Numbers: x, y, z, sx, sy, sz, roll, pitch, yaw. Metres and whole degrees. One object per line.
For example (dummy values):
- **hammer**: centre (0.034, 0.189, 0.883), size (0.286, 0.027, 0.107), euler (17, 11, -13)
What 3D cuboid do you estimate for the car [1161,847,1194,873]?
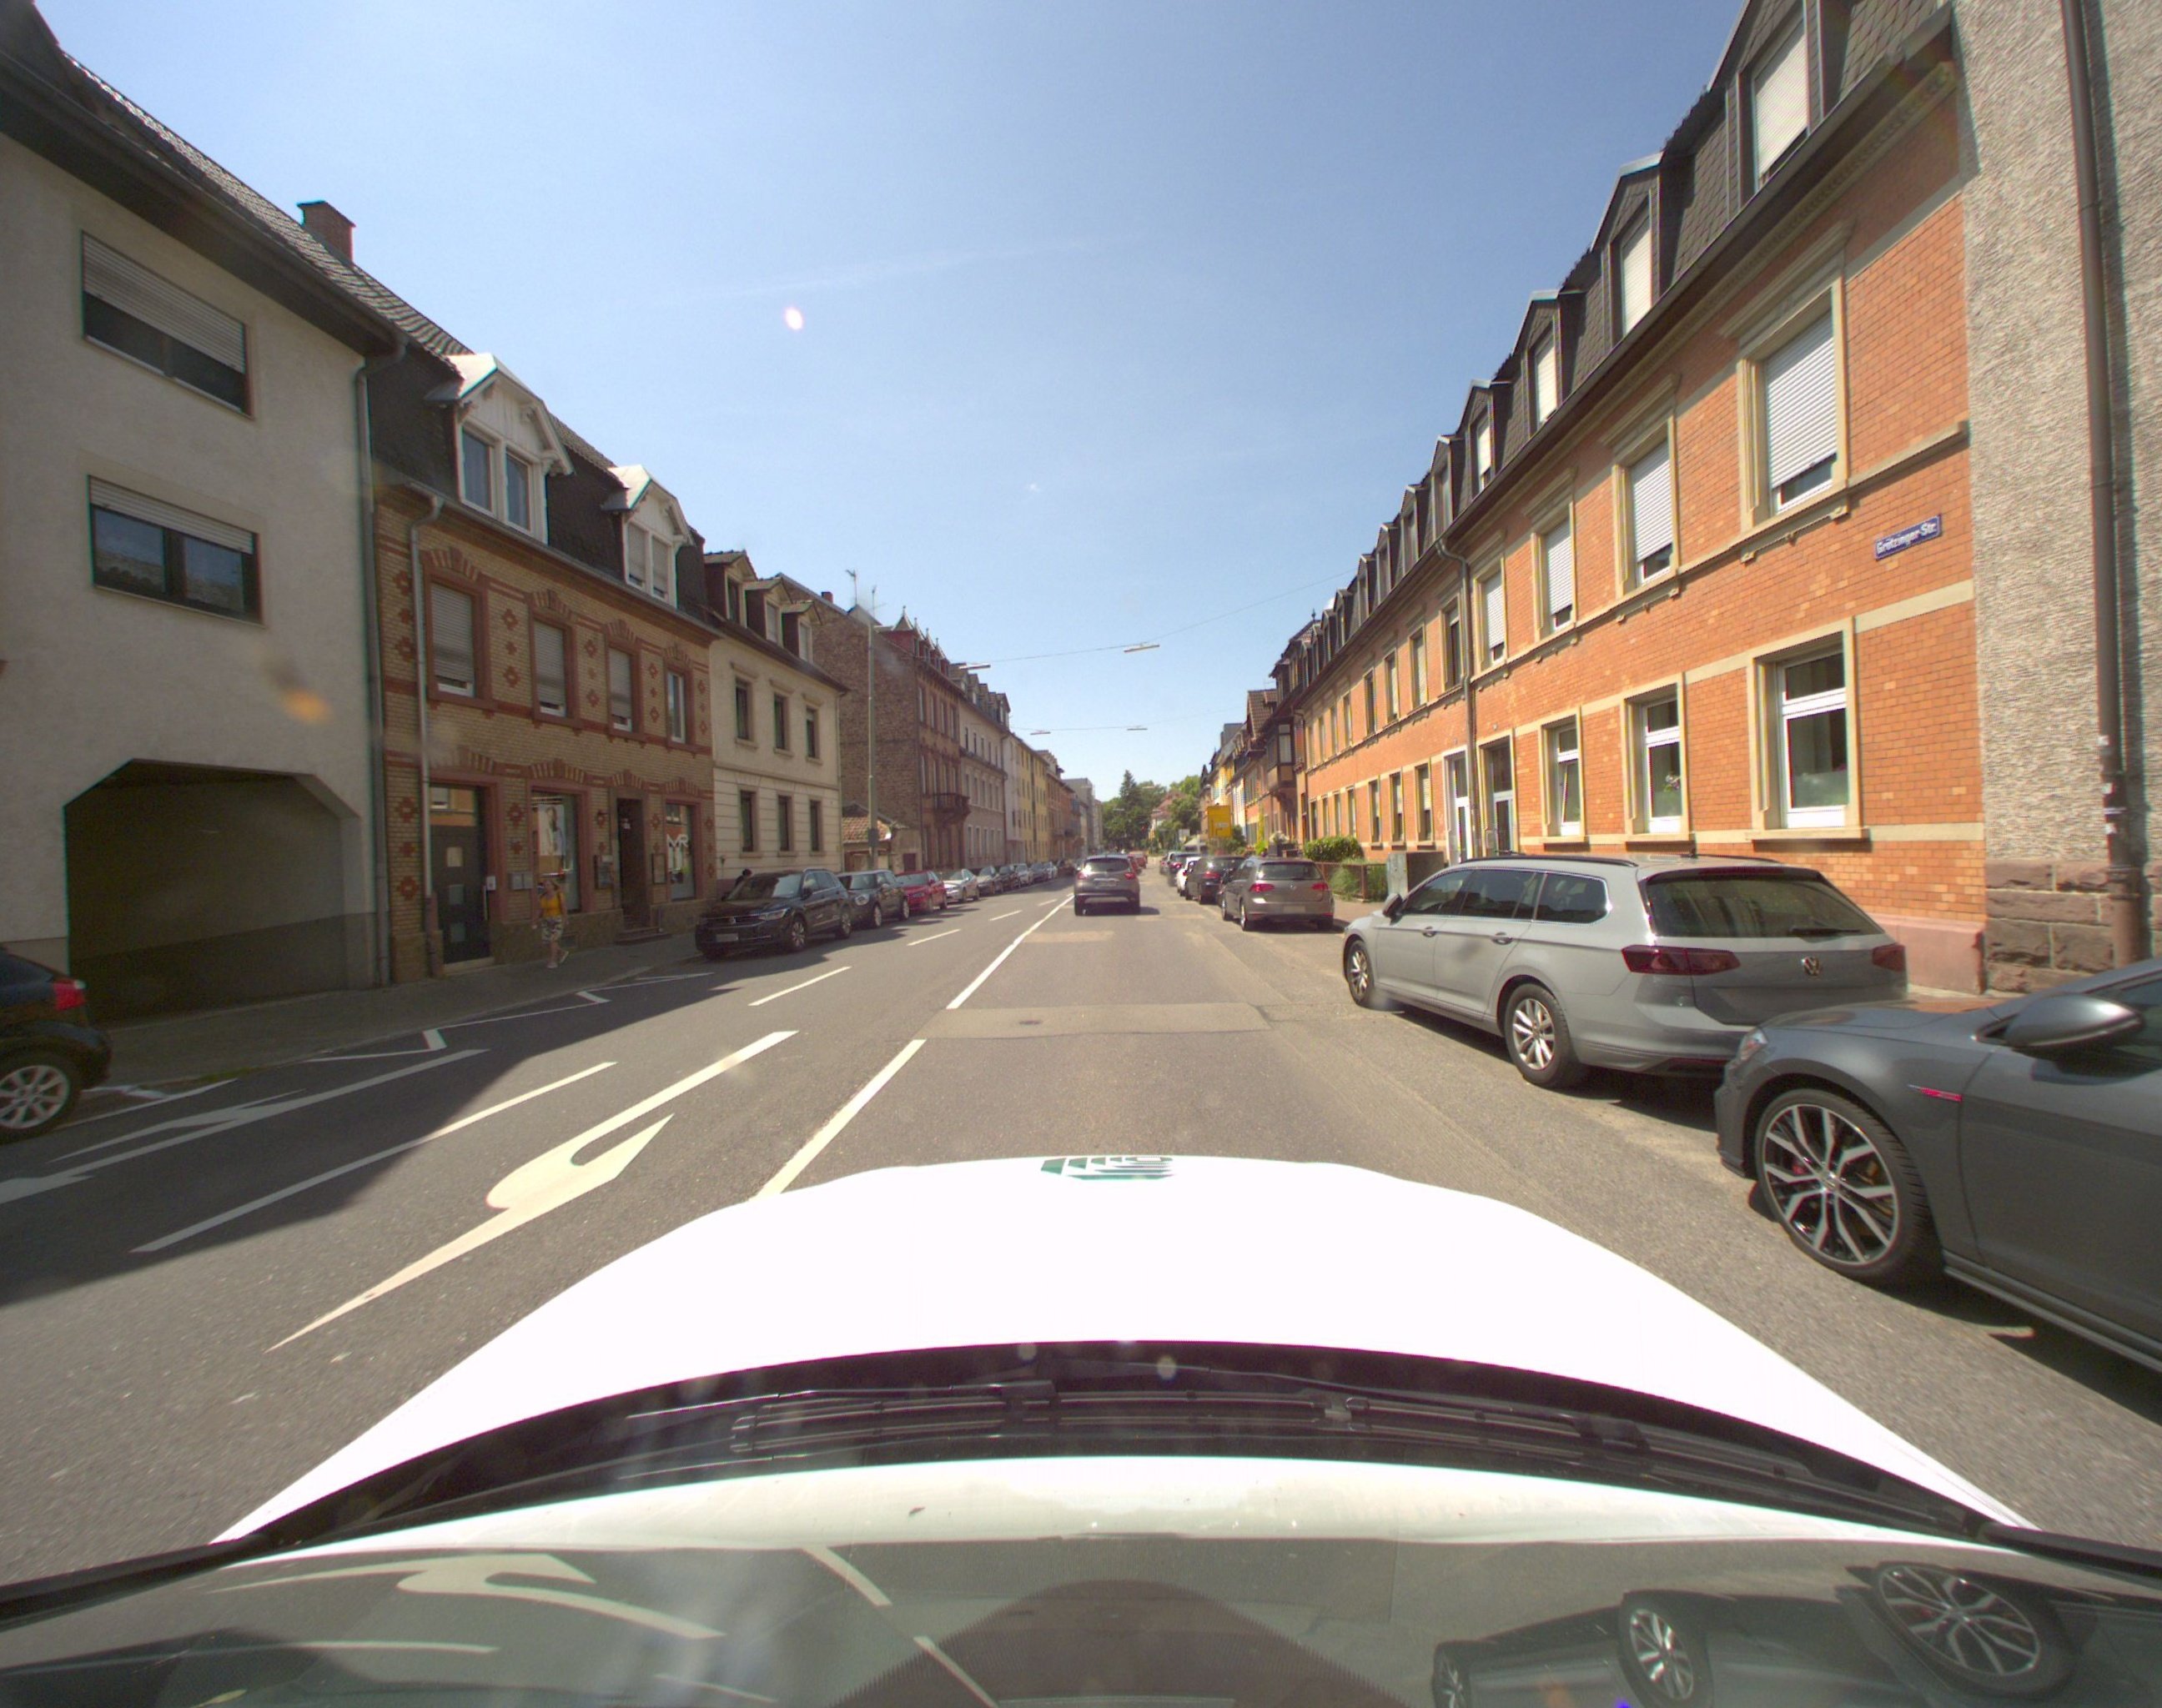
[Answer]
- **car**: centre (6.810, 0.421, 57.886), size (1.853, 1.748, 4.620), euler (-1, 0, 2)

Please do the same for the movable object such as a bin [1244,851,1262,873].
- **movable object such as a bin**: centre (8.906, 0.399, 42.183), size (0.785, 1.088, 0.554), euler (-3, 0, 1)

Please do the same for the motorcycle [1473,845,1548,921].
- **motorcycle**: centre (7.441, 0.488, 14.172), size (0.593, 1.225, 1.362), euler (-3, -1, 3)

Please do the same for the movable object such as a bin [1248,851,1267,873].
- **movable object such as a bin**: centre (8.897, 0.403, 41.003), size (0.785, 1.088, 0.539), euler (-3, 0, 1)

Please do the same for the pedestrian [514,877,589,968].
- **pedestrian**: centre (-9.274, 1.173, 14.297), size (0.605, 1.495, 0.972), euler (-1, 0, 4)

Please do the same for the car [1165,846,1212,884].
- **car**: centre (5.248, 0.514, 40.243), size (1.984, 1.662, 4.630), euler (-3, 0, 4)

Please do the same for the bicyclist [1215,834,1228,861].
- **bicyclist**: centre (7.623, -0.350, 44.208), size (0.530, 1.469, 0.792), euler (-3, 0, 5)

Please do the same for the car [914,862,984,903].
- **car**: centre (-5.411, 1.135, 33.985), size (1.832, 1.422, 4.506), euler (-5, -1, 3)

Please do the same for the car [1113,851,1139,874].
- **car**: centre (3.461, 0.634, 62.286), size (1.805, 1.620, 4.445), euler (-4, 0, 3)

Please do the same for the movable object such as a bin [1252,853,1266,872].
- **movable object such as a bin**: centre (10.163, 0.461, 46.463), size (0.655, 1.055, 0.749), euler (-3, 0, 5)

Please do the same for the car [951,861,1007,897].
- **car**: centre (-4.901, 1.174, 39.836), size (1.833, 1.422, 4.505), euler (-7, -1, 2)

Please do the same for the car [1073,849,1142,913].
- **car**: centre (0.774, 0.695, 22.832), size (1.737, 1.616, 4.002), euler (-1, 0, 3)

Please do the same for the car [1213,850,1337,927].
- **car**: centre (3.966, 0.663, 17.308), size (1.694, 1.380, 4.168), euler (-2, 0, 2)

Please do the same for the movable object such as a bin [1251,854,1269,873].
- **movable object such as a bin**: centre (8.871, 0.483, 40.371), size (0.785, 0.907, 0.539), euler (-3, 0, 1)

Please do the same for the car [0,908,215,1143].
- **car**: centre (-8.162, 1.184, 4.508), size (1.833, 1.488, 4.503), euler (0, 0, 1)

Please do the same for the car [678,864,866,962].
- **car**: centre (-6.166, 1.086, 16.903), size (1.832, 1.596, 4.506), euler (-5, -1, 3)

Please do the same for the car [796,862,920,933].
- **car**: centre (-6.053, 1.121, 22.704), size (1.832, 1.596, 4.506), euler (-6, -1, 3)

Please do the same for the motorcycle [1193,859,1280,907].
- **motorcycle**: centre (4.156, 0.755, 21.799), size (1.971, 1.225, 1.120), euler (-1, 0, 42)

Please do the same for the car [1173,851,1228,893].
- **car**: centre (4.517, 0.652, 31.252), size (1.708, 1.414, 4.595), euler (-3, 0, 4)

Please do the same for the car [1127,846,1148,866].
- **car**: centre (6.202, 0.179, 89.271), size (1.983, 2.013, 4.474), euler (-3, 0, 7)

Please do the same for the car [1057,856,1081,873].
- **car**: centre (-1.173, 1.009, 80.420), size (1.896, 1.510, 4.308), euler (-5, 0, 4)

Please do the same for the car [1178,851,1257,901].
- **car**: centre (4.279, 0.650, 26.191), size (1.644, 1.414, 4.498), euler (-2, 0, -2)

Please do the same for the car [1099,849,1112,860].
- **car**: centre (4.518, 0.135, 147.527), size (1.895, 1.821, 4.310), euler (-3, 0, 6)

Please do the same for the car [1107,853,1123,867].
- **car**: centre (4.737, 0.835, 113.000), size (1.987, 1.792, 5.148), euler (-3, 0, 0)

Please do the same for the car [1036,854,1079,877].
- **car**: centre (-1.945, 0.988, 68.969), size (1.888, 1.637, 4.583), euler (-5, 0, 22)

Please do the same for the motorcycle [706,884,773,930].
- **motorcycle**: centre (-9.107, 1.401, 21.799), size (0.841, 1.078, 1.873), euler (-3, 0, 4)

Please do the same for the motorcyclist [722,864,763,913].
- **motorcyclist**: centre (-9.115, 0.913, 21.937), size (0.715, 1.248, 0.712), euler (-3, 0, 3)

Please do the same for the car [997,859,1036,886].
- **car**: centre (-3.981, 1.126, 50.939), size (1.833, 1.422, 4.504), euler (-5, -1, 2)

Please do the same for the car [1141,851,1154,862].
- **car**: centre (10.174, 0.398, 124.591), size (1.754, 1.560, 3.949), euler (-3, 0, 6)

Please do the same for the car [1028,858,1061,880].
- **car**: centre (-2.762, 1.143, 62.615), size (1.831, 1.422, 4.565), euler (-6, -1, 5)

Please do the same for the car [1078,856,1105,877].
- **car**: centre (0.815, 0.947, 62.595), size (1.783, 1.420, 4.319), euler (-3, 0, 3)

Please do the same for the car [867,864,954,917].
- **car**: centre (-5.642, 1.157, 27.504), size (1.834, 1.422, 4.502), euler (-5, 0, 1)

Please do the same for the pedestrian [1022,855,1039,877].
- **pedestrian**: centre (-4.077, 0.960, 66.259), size (1.145, 1.750, 0.971), euler (-3, 0, 6)

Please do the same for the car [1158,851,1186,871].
- **car**: centre (7.043, 0.537, 63.323), size (1.853, 1.487, 4.313), euler (-1, 0, 3)

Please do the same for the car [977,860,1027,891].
- **car**: centre (-4.382, 1.175, 45.690), size (1.831, 1.422, 4.509), euler (-6, -1, 5)

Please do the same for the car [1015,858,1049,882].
- **car**: centre (-3.354, 1.100, 56.853), size (1.833, 1.422, 4.648), euler (-5, -1, 2)

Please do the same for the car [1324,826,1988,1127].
- **car**: centre (3.669, 0.637, 6.470), size (1.850, 1.463, 4.544), euler (-2, 0, -4)

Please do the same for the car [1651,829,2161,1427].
- **car**: centre (3.418, 0.645, 1.634), size (1.646, 1.420, 4.047), euler (-3, 0, -1)
